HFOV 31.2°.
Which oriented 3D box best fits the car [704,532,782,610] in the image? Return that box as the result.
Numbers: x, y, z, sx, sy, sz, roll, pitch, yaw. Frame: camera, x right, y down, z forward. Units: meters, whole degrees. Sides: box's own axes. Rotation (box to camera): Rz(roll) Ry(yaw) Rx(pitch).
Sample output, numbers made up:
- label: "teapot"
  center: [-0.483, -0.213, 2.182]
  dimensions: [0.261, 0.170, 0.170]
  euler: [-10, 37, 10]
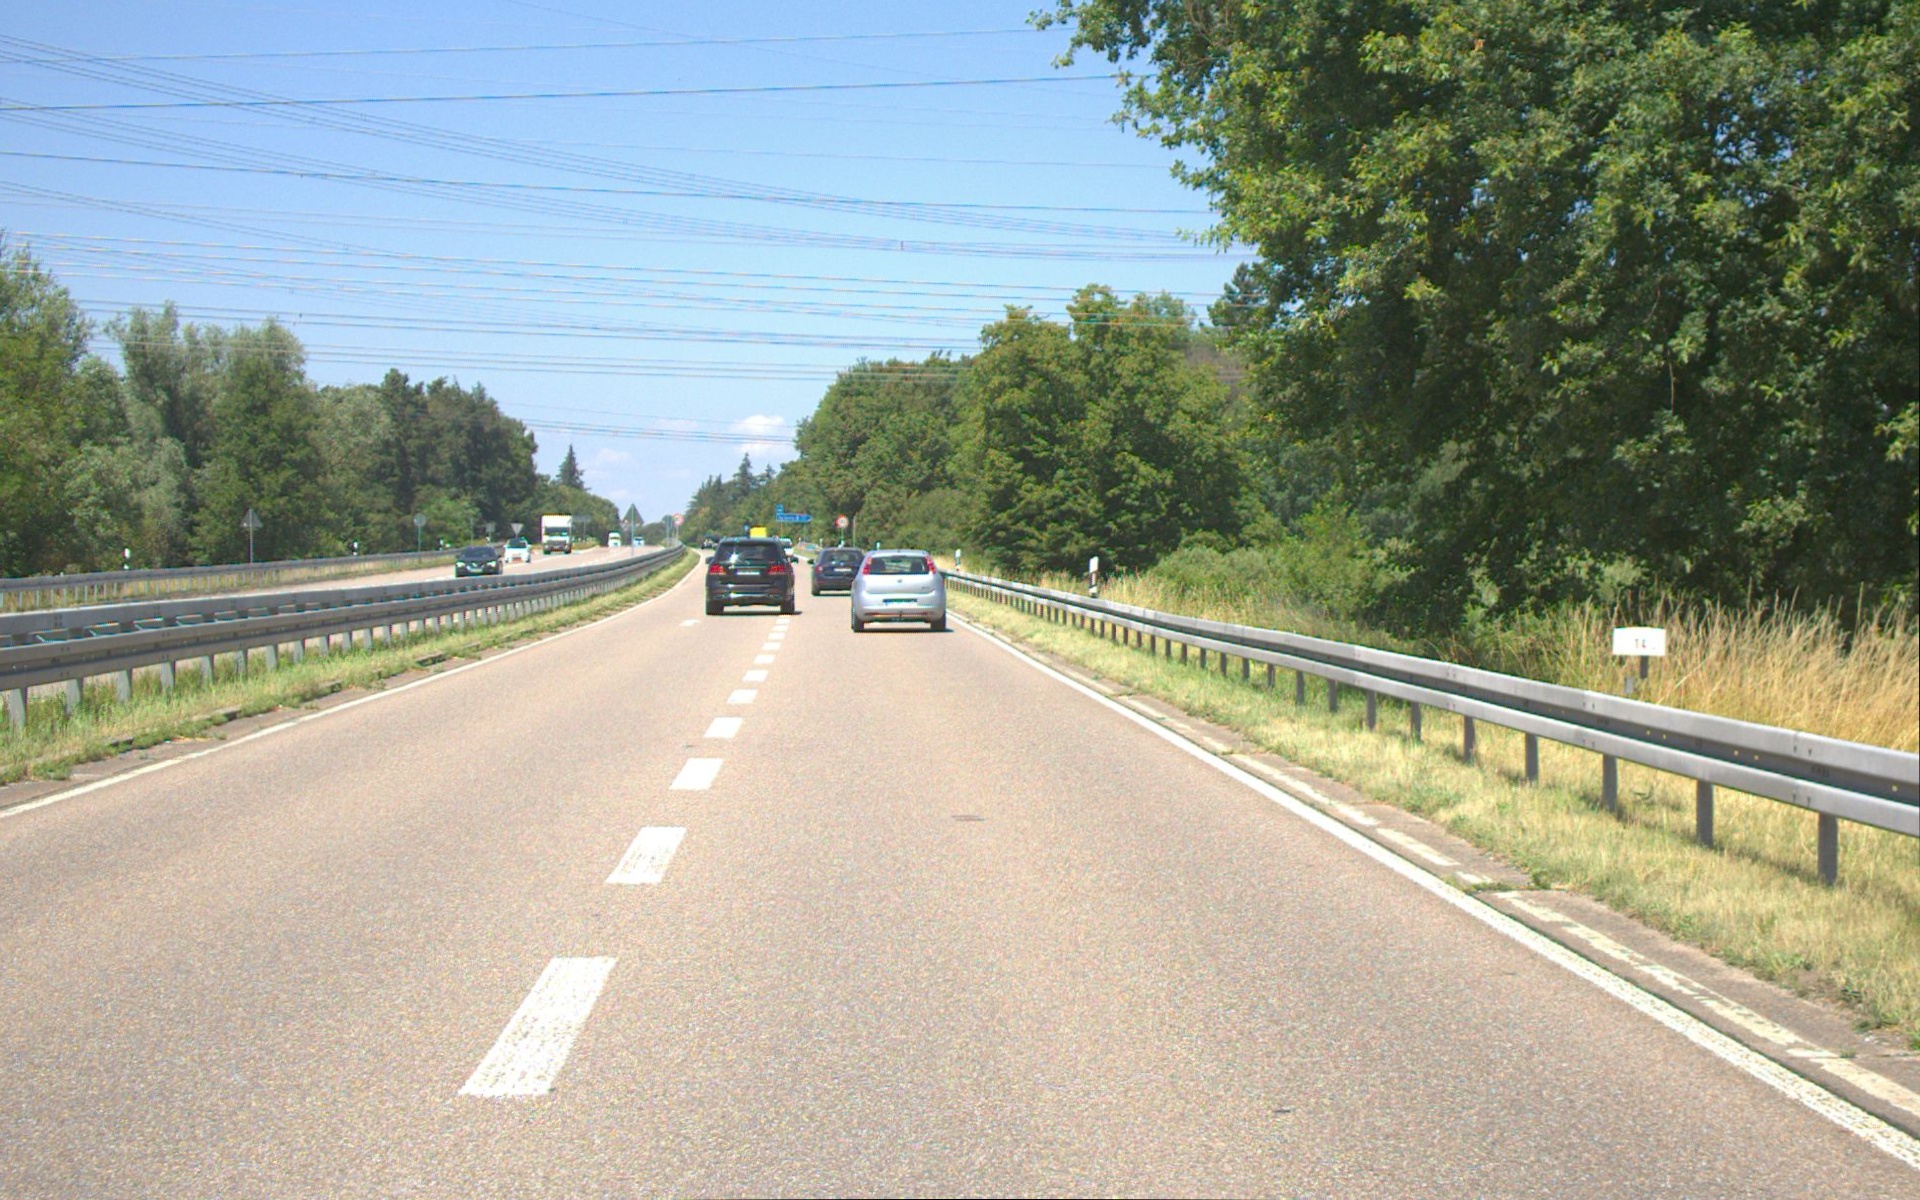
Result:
- label: "car"
  center: [-4.863, -0.669, 77.439]
  dimensions: [1.640, 1.648, 3.574]
  euler: [2, 1, -3]

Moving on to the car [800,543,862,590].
- label: "car"
  center: [-3.859, -1.012, 103.292]
  dimensions: [1.640, 1.338, 3.574]
  euler: [2, 1, 0]

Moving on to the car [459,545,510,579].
- label: "car"
  center: [-20.013, -1.624, 144.822]
  dimensions: [1.844, 1.408, 4.682]
  euler: [0, 1, -4]

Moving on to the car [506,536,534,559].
- label: "car"
  center: [-27.975, -3.359, 218.721]
  dimensions: [1.532, 1.444, 3.702]
  euler: [0, 1, -3]

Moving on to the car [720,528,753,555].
- label: "car"
  center: [-12.619, -3.297, 193.792]
  dimensions: [1.712, 1.466, 3.575]
  euler: [2, 1, -5]

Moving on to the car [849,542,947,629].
- label: "car"
  center: [-1.153, -0.283, 62.278]
  dimensions: [1.640, 1.463, 3.419]
  euler: [2, 1, -2]
